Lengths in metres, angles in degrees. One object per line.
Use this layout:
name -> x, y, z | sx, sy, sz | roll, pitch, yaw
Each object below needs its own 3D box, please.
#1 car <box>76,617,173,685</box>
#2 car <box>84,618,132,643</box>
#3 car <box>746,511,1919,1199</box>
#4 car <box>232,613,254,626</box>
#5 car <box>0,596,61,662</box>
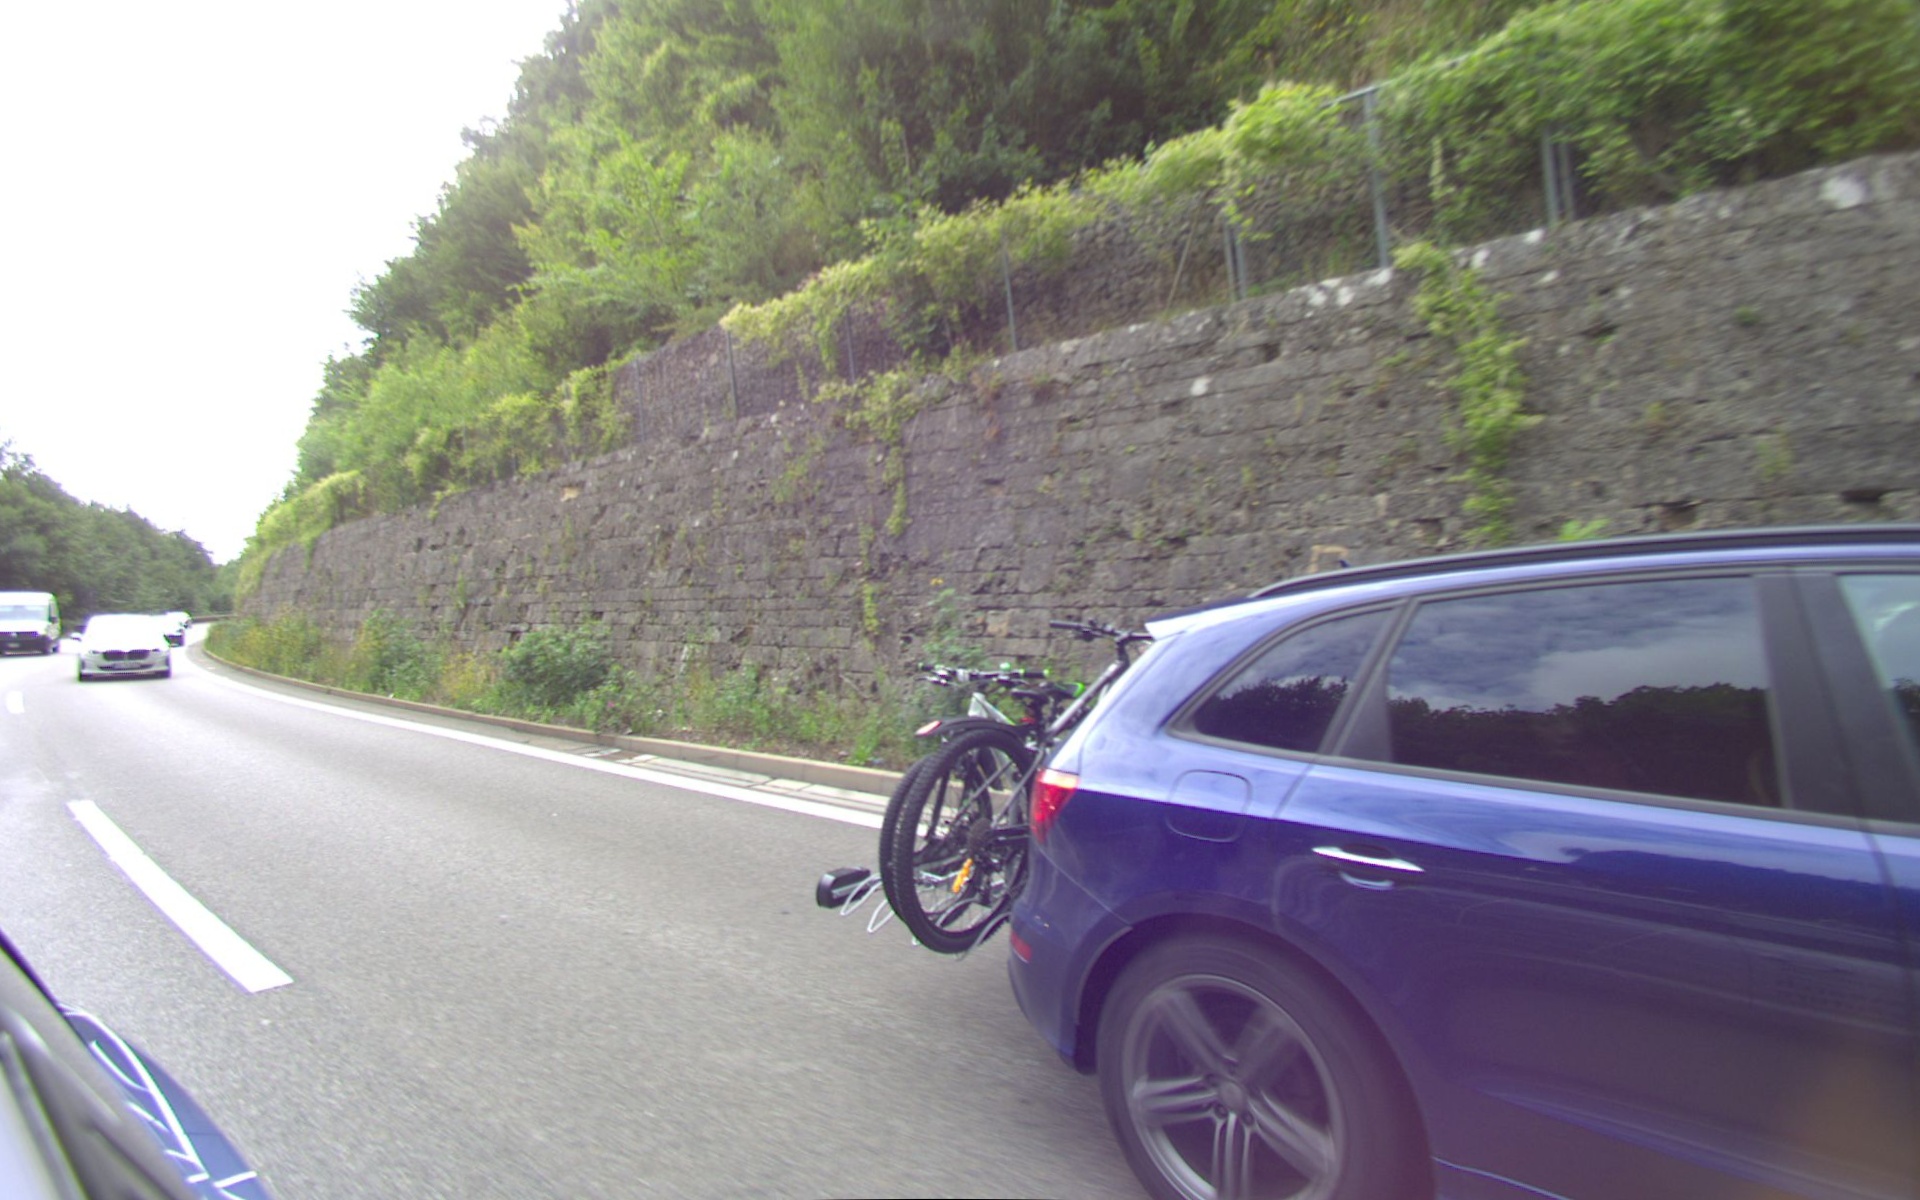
car -> -21.516, 1.276, 26.057 | 1.796, 1.567, 4.006 | 0, -2, -40
car -> -57.609, 2.072, 68.490 | 1.793, 1.567, 4.012 | 0, -2, -30
car -> 2.034, 0.630, 2.212 | 5.584, 1.605, 1.950 | 0, 2, 42
car -> -91.411, 2.444, 129.069 | 1.793, 1.567, 4.013 | 0, -2, -27
car -> -39.033, 1.236, 42.034 | 2.066, 2.582, 5.931 | 0, -2, -38
